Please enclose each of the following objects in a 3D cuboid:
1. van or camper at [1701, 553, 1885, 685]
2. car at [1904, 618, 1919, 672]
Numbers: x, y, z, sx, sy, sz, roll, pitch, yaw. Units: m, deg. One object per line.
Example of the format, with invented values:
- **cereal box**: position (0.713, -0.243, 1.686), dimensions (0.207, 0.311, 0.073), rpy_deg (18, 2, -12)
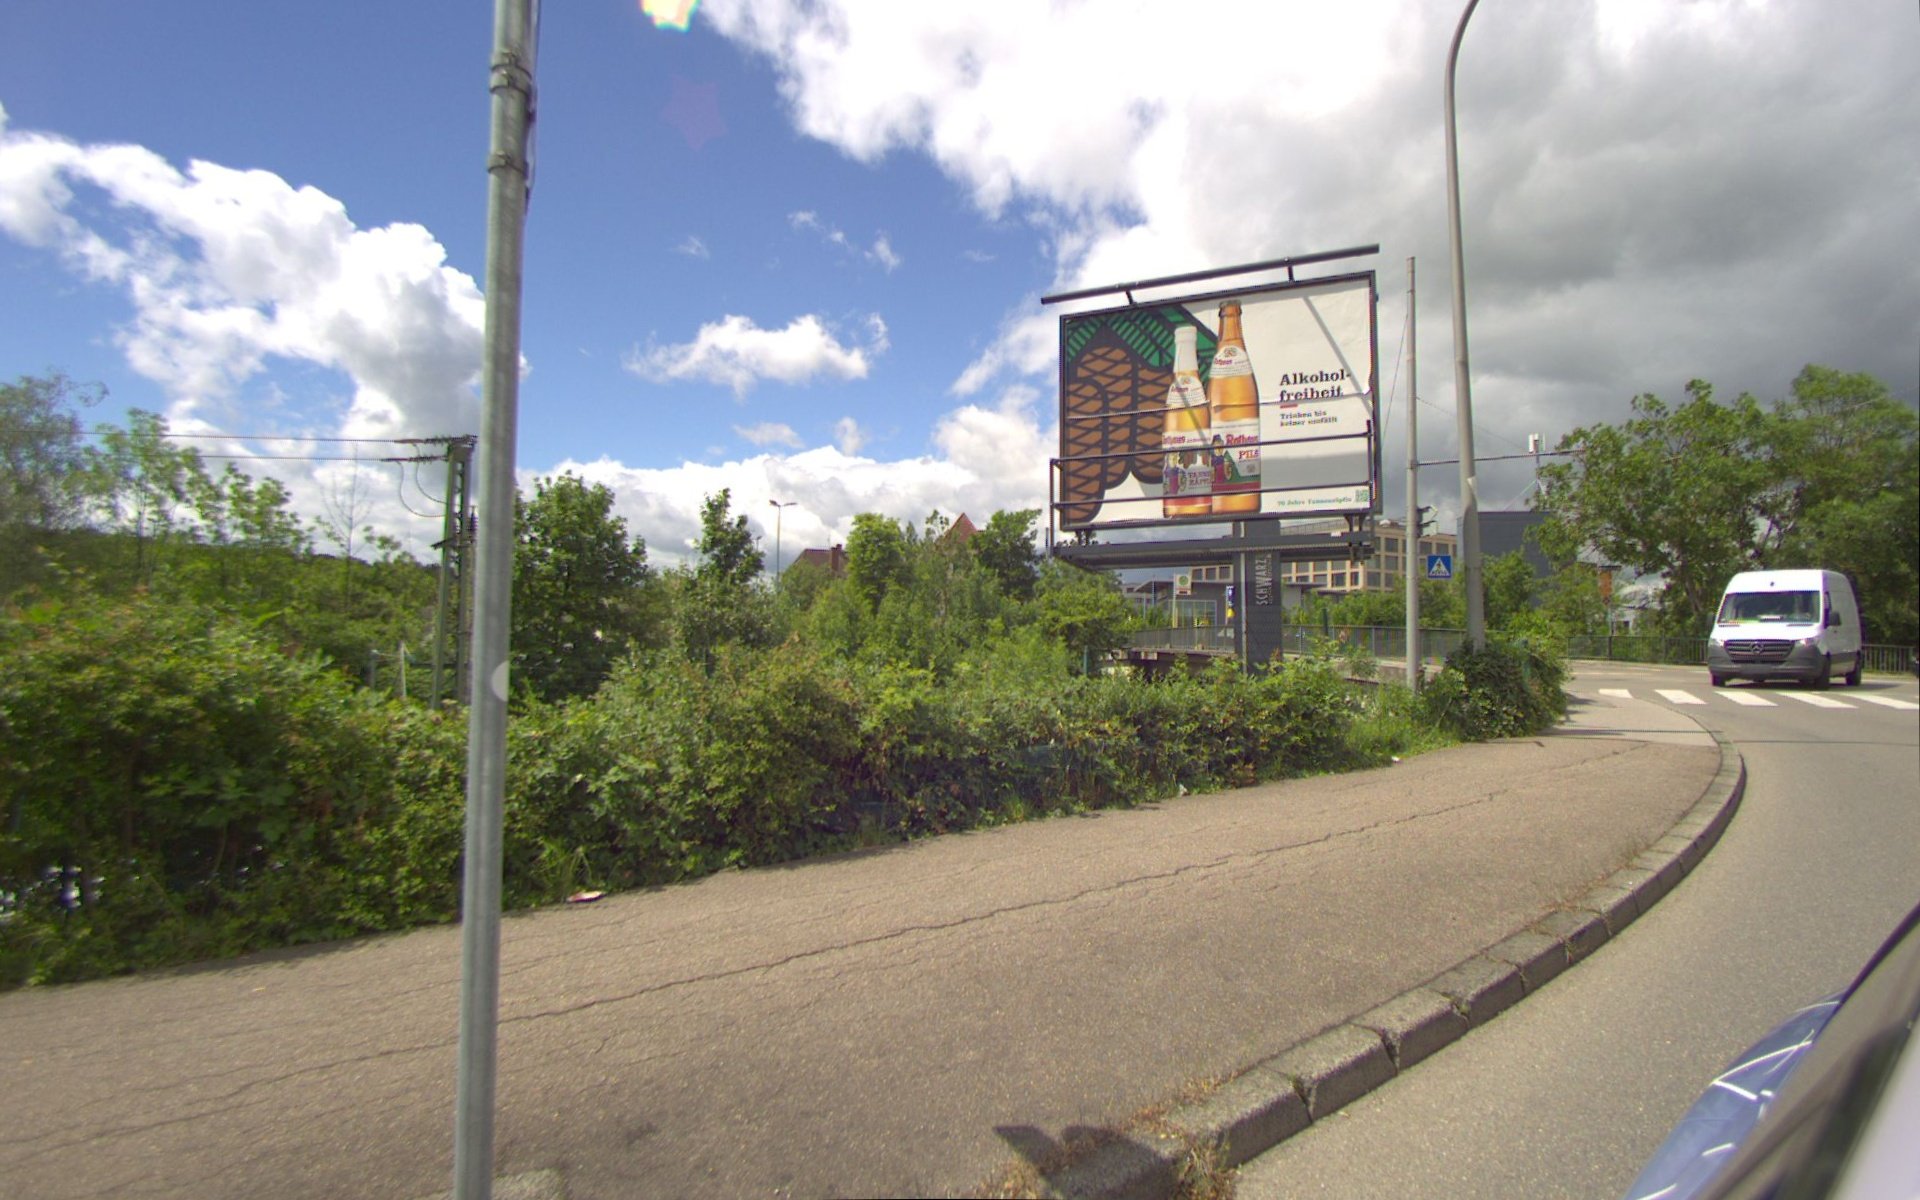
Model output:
- **van or camper**: position (18.731, 0.455, 22.637), dimensions (5.823, 2.599, 2.191), rpy_deg (3, -1, -41)
- **car**: position (28.805, 1.317, 27.689), dimensions (4.147, 1.493, 2.000), rpy_deg (2, -2, -2)
